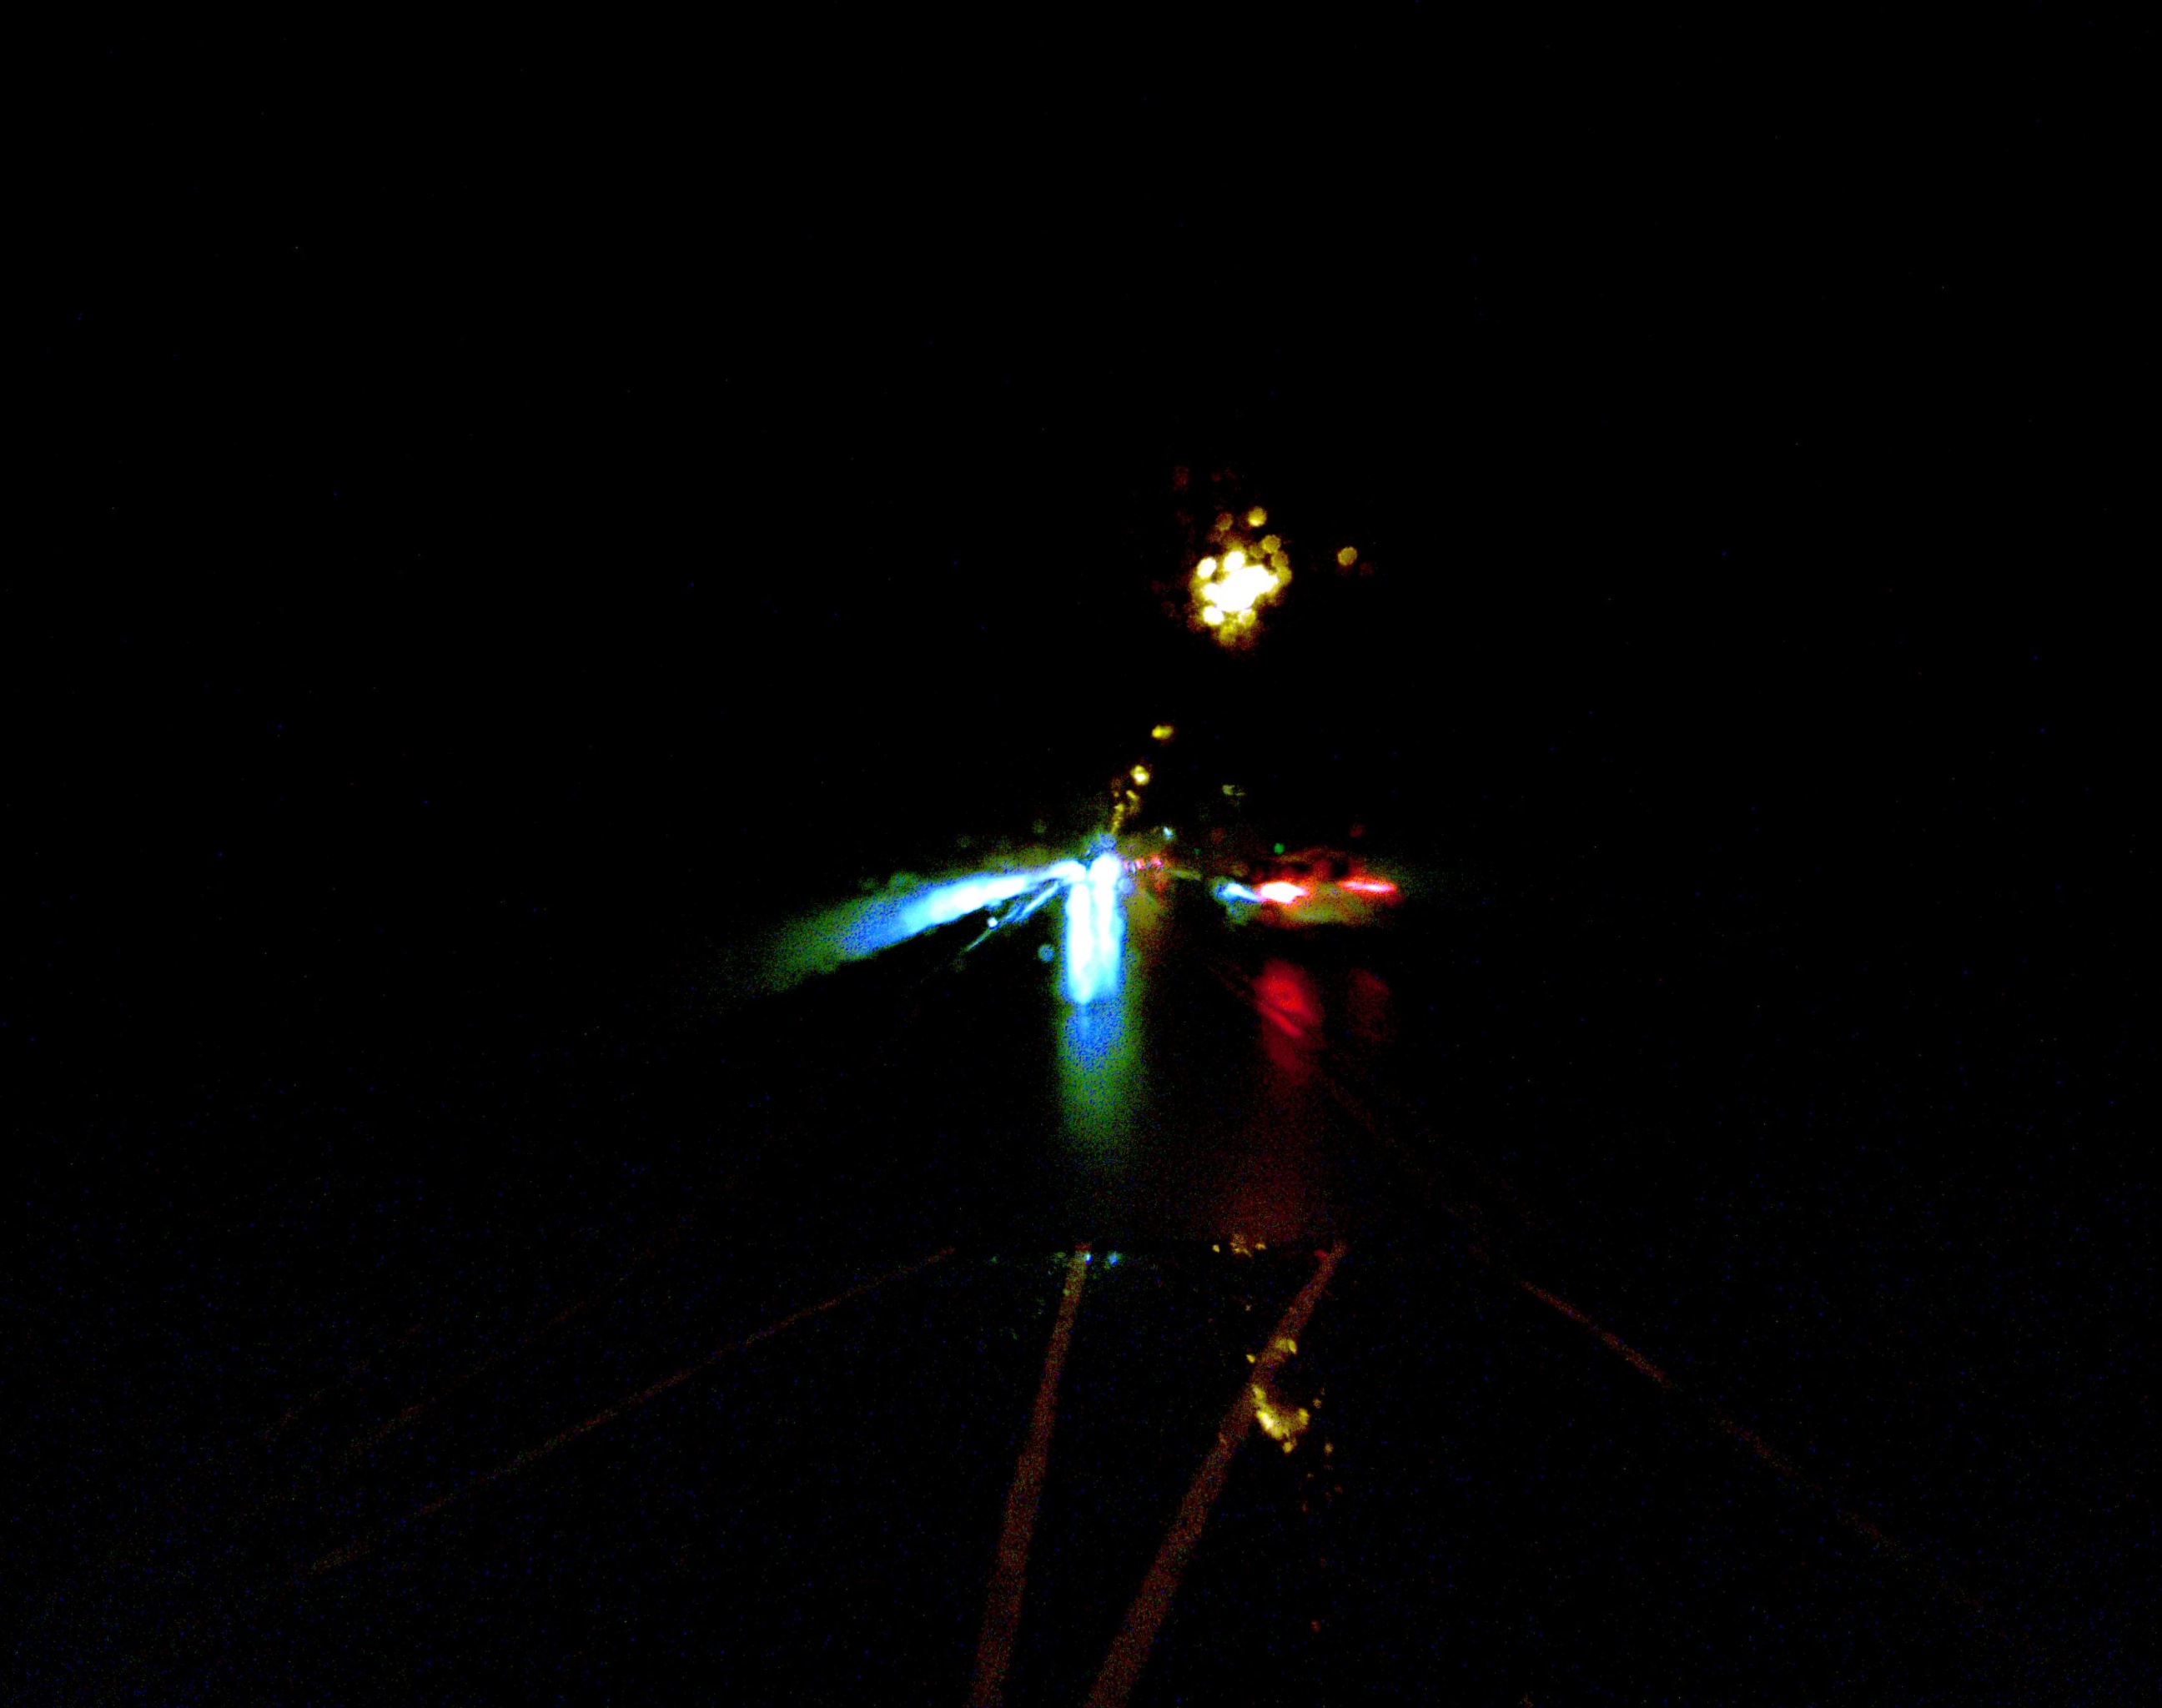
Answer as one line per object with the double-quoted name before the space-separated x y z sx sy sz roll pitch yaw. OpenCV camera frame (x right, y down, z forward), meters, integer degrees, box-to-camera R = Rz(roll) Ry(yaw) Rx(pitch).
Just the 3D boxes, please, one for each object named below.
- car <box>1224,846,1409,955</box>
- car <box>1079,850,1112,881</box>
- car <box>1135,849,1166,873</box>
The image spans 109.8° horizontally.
"car" 3.709 0.656 12.796 1.817 1.473 4.200 -2 0 1
"car" 0.863 0.628 44.055 1.730 1.595 4.000 -3 1 3
"car" 4.590 0.440 50.597 1.664 1.481 3.963 -2 0 1
